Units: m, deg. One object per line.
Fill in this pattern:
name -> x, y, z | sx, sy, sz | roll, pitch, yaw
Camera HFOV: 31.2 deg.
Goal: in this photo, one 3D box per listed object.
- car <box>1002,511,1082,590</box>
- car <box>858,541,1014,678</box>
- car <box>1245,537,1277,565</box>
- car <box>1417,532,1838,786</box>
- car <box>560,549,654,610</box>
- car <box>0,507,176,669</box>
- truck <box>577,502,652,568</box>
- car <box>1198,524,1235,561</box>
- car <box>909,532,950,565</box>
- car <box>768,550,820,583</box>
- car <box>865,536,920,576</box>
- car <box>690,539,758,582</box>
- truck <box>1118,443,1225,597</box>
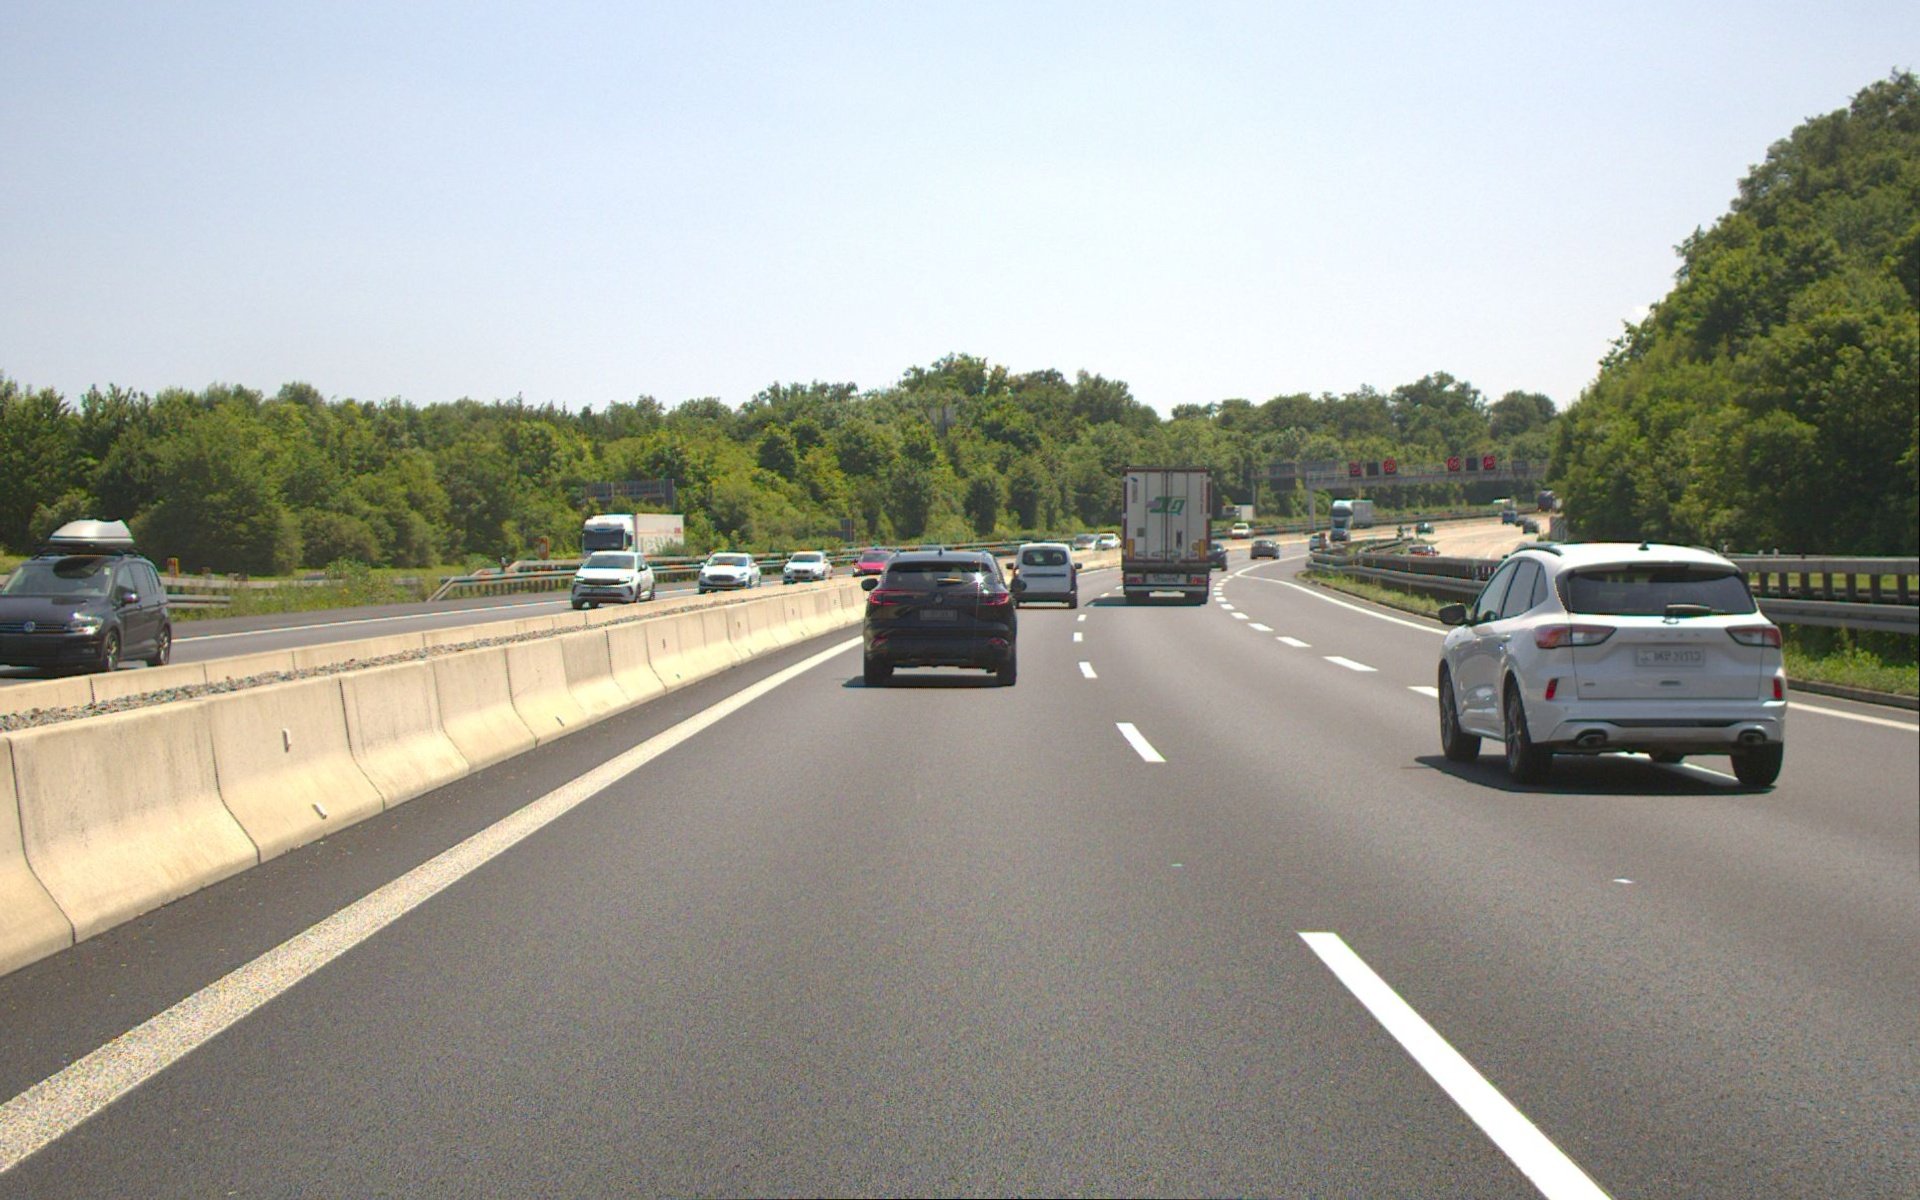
car -> 2.286, -1.378, 94.996 | 1.994, 2.007, 4.000 | -3, 1, 3
car -> -0.332, 0.089, 41.637 | 1.779, 1.572, 4.000 | 0, 1, -2
car -> 21.437, -3.474, 244.804 | 1.994, 2.007, 3.999 | 0, 1, 8
car -> 4.672, 0.363, 24.743 | 1.993, 1.656, 4.468 | 0, 1, -2
car -> -9.891, -0.578, 96.684 | 1.869, 1.660, 4.663 | 0, 1, 4
car -> -12.189, -0.187, 46.695 | 1.993, 2.074, 4.704 | -1, 1, 0
truck -> -18.875, -3.531, 188.029 | 3.083, 3.491, 5.408 | 0, 1, 5
car -> 14.177, -3.154, 189.799 | 1.994, 2.007, 4.000 | 0, 1, 4
car -> -1.705, -2.935, 196.260 | 1.994, 1.818, 4.905 | 0, 1, 4
car -> -7.267, -1.478, 150.612 | 1.850, 1.390, 4.000 | 1, 1, 3
car -> -2.850, -1.850, 145.265 | 1.994, 1.653, 4.634 | 0, 1, 3
car -> -8.631, -1.436, 126.056 | 1.993, 1.538, 5.041 | 0, 1, 2
truck -> 6.430, -2.362, 104.941 | 3.032, 4.403, 12.017 | 0, 1, 3
